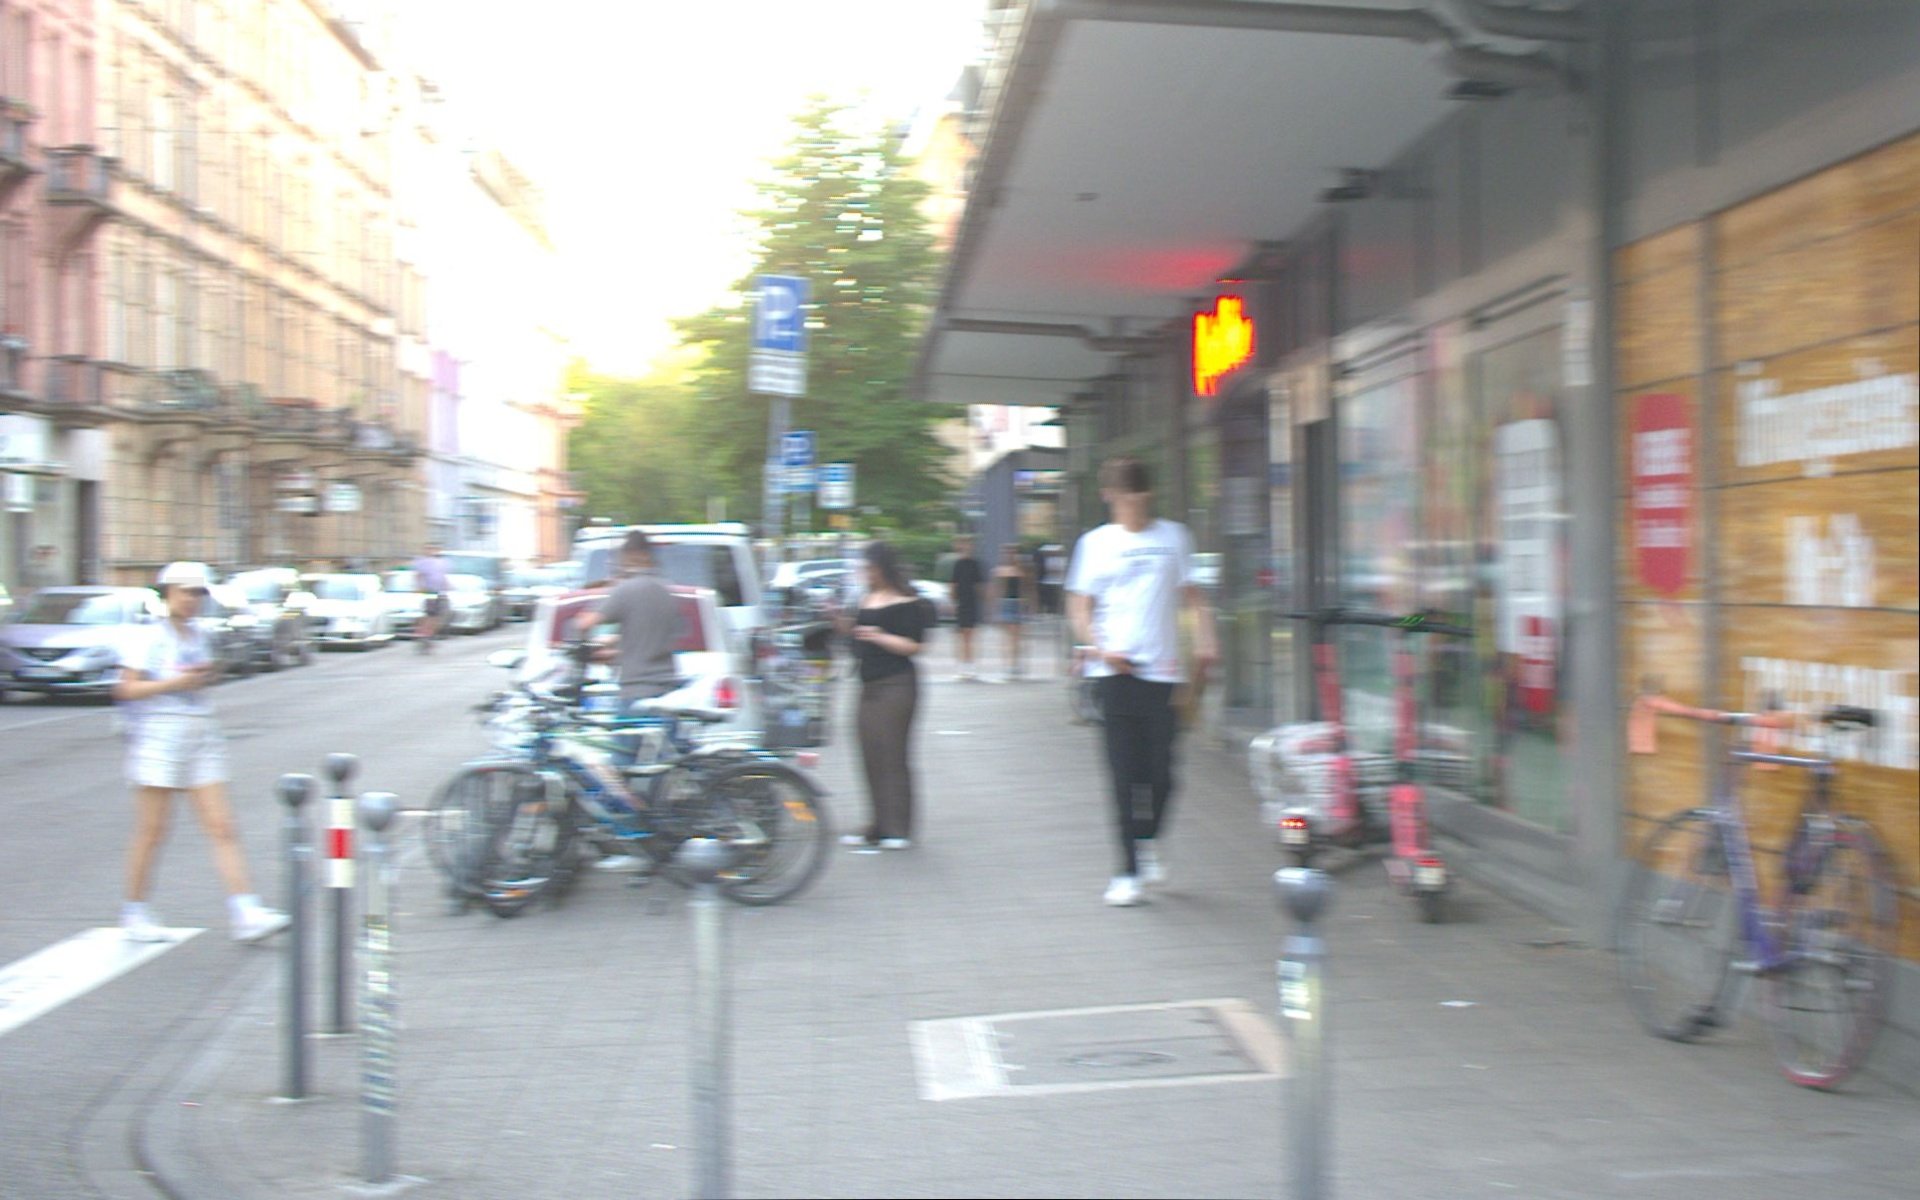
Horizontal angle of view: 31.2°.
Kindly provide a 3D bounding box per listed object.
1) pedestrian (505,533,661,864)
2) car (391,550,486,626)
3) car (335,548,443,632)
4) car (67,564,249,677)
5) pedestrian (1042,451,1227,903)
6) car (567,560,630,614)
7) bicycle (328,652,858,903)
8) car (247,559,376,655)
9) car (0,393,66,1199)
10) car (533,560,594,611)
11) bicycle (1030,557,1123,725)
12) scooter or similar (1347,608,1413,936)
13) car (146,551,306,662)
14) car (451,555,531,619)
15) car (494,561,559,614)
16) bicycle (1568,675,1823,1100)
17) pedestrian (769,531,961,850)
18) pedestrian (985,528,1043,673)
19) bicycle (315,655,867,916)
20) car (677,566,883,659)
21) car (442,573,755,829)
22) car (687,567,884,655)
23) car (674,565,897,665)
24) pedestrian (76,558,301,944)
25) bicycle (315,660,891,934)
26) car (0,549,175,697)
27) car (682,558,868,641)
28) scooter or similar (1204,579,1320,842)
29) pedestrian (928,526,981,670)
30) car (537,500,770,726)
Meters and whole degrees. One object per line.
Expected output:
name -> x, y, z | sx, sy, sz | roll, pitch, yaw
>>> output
pedestrian -> -1.927, 0.495, 17.638 | 0.720, 1.657, 0.702 | 1, 0, -2
car -> -12.429, -0.293, 82.135 | 1.834, 1.744, 4.000 | 1, 0, -3
car -> -12.312, -0.222, 74.323 | 1.834, 1.744, 4.000 | 1, 0, -3
car -> -11.526, 0.276, 49.632 | 1.834, 1.541, 4.038 | 1, 0, -3
pedestrian -> 0.746, 0.325, 14.896 | 0.720, 1.900, 0.702 | 1, 0, -2
car -> -12.004, -0.438, 114.209 | 1.834, 1.744, 4.000 | 1, 0, -3
bicycle -> -1.777, 0.845, 16.724 | 2.461, 1.035, 0.617 | -3, 1, -7
car -> -12.198, 0.118, 64.865 | 1.834, 1.744, 4.000 | 1, 0, -3
car -> -3.569, 0.547, 8.060 | 1.938, 1.804, 5.002 | -1, 0, -25
car -> -14.055, -0.507, 122.040 | 1.834, 1.744, 4.000 | 1, 0, -3
bicycle -> 0.998, 0.339, 29.898 | 0.555, 1.403, 2.096 | 1, 0, -4
scooter or similar -> 1.688, 0.670, 13.844 | 0.219, 1.233, 0.966 | 1, 2, 5
car -> -11.626, 0.087, 54.677 | 1.834, 1.673, 4.038 | 1, 0, -3
car -> -13.124, -0.372, 96.389 | 1.834, 1.744, 4.000 | 1, 0, -3
car -> -14.536, -0.418, 115.425 | 1.834, 1.744, 4.000 | 1, 0, -3
bicycle -> 2.060, 0.782, 9.708 | 0.289, 1.109, 0.966 | 1, 0, -14
pedestrian -> -0.507, 0.467, 18.333 | 0.721, 1.657, 0.701 | 1, 0, 37
pedestrian -> 0.677, 0.001, 43.135 | 0.635, 1.805, 0.484 | 1, 0, 11
bicycle -> -1.714, 0.849, 16.056 | 2.461, 1.035, 0.617 | -3, 1, -7
car -> -3.556, 0.235, 67.923 | 3.986, 1.744, 1.841 | 1, 0, -3
car -> -2.319, 0.608, 22.949 | 1.834, 1.536, 4.000 | 1, 0, -3
car -> -3.597, 0.221, 70.866 | 3.986, 1.744, 1.841 | 1, 0, -3
car -> -3.196, 0.264, 63.059 | 3.986, 1.744, 1.841 | 1, 0, -3
pedestrian -> -3.331, 0.633, 14.919 | 0.797, 1.615, 0.945 | 1, 0, -4
bicycle -> -1.586, 0.863, 15.379 | 2.461, 1.035, 0.617 | -3, 1, -6
car -> -11.143, 0.256, 43.050 | 1.834, 1.744, 4.163 | 1, 0, -3
car -> -4.036, -0.017, 75.247 | 3.986, 1.744, 1.841 | 1, 0, -3
scooter or similar -> 1.547, 0.541, 17.770 | 0.440, 1.286, 1.667 | 1, 0, 0
pedestrian -> -0.074, -0.026, 43.452 | 0.626, 1.805, 0.789 | 1, 0, -1
car -> -2.759, 0.104, 31.718 | 1.942, 1.927, 4.000 | 1, 0, -3
